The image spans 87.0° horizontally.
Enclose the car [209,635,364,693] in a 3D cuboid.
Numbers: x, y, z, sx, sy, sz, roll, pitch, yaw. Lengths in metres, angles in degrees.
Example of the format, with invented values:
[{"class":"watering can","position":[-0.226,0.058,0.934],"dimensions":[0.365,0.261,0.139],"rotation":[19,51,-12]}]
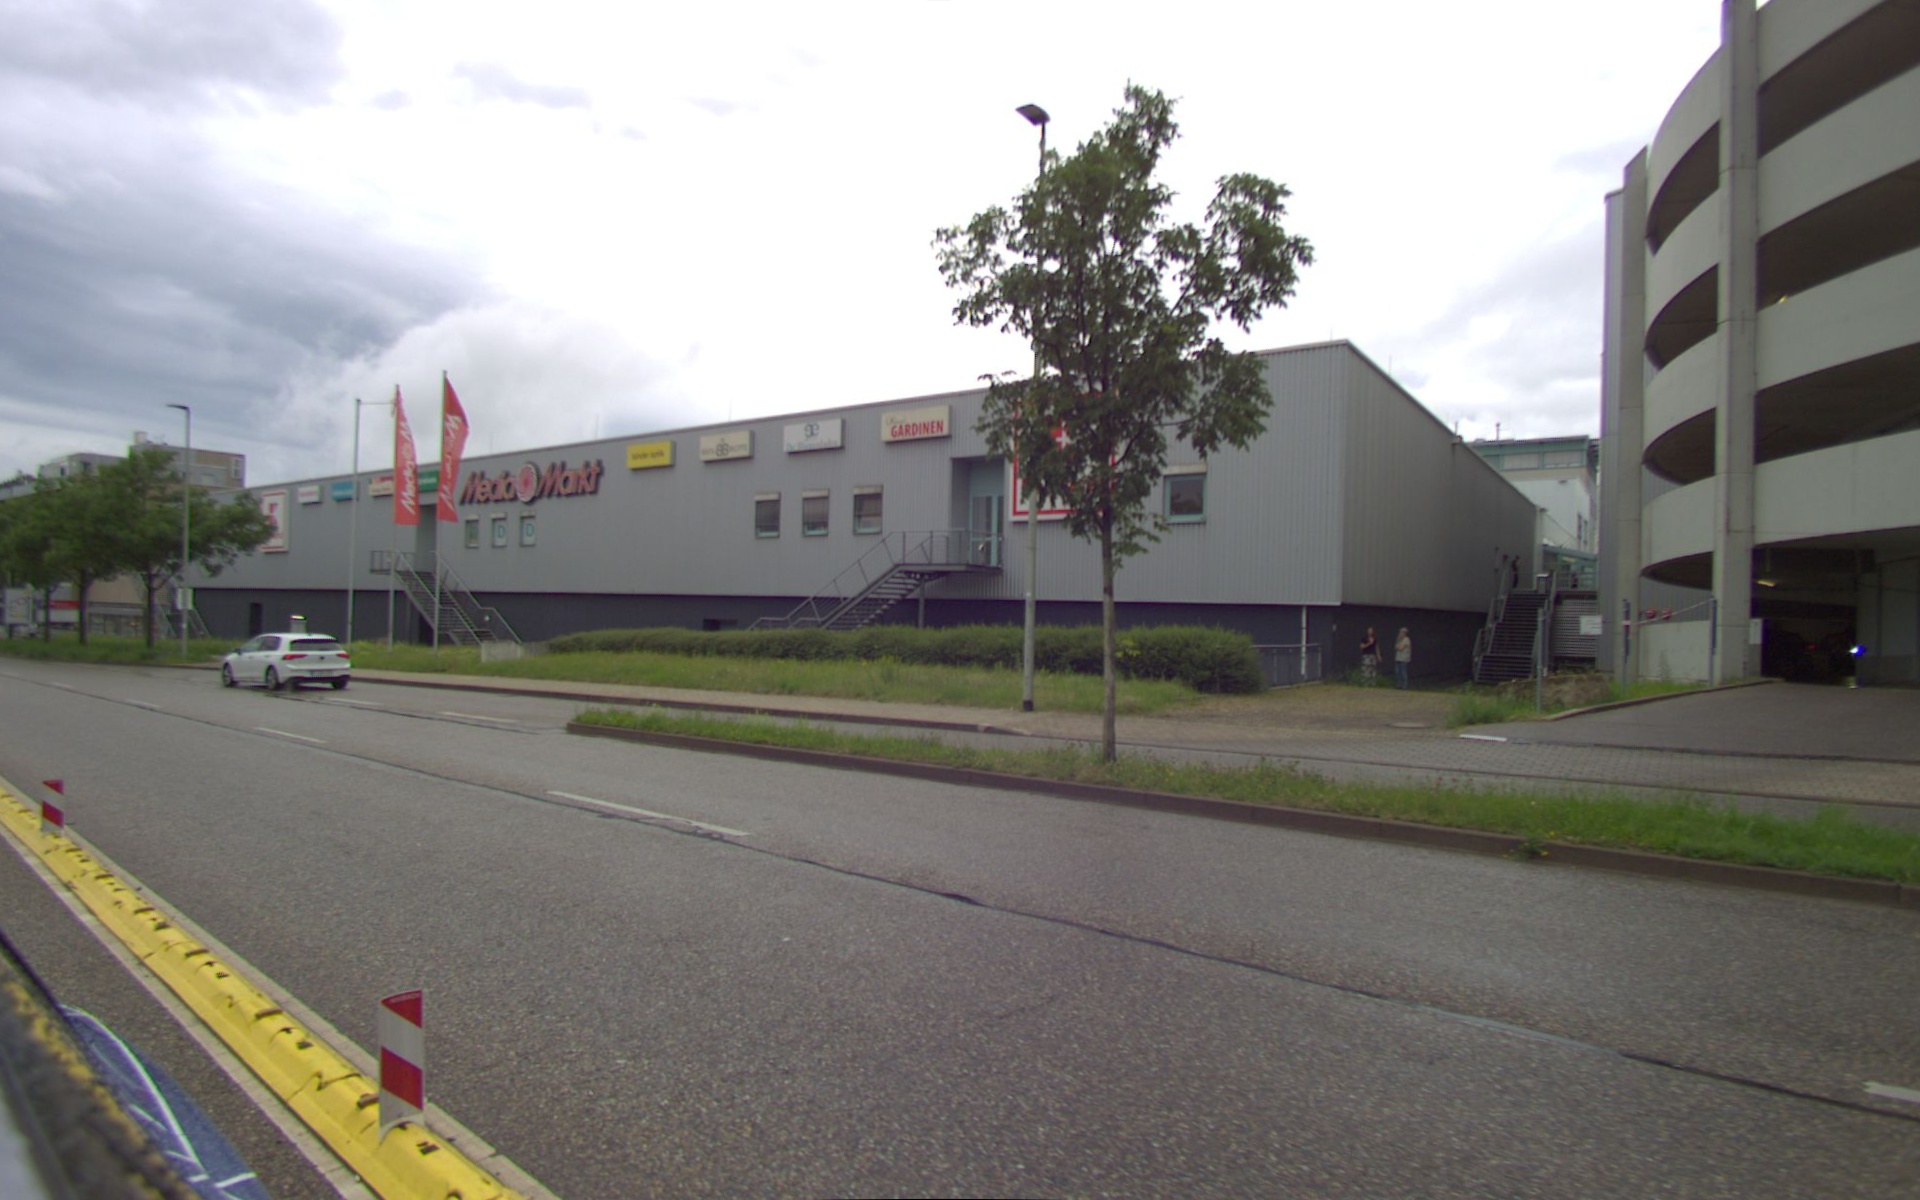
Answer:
[{"class":"car","position":[-17.755,1.639,26.629],"dimensions":[4.413,1.419,1.883],"rotation":[-2,-3,35]}]

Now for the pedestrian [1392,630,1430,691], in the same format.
[{"class":"pedestrian","position":[12.111,1.612,27.185],"dimensions":[0.859,1.587,0.445],"rotation":[-1,0,32]}]

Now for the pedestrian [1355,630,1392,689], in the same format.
[{"class":"pedestrian","position":[11.336,1.619,27.767],"dimensions":[0.859,1.587,0.445],"rotation":[-1,0,32]}]

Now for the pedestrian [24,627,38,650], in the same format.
[{"class":"pedestrian","position":[-65.215,2.690,71.040],"dimensions":[0.766,1.595,0.579],"rotation":[-1,0,37]}]
